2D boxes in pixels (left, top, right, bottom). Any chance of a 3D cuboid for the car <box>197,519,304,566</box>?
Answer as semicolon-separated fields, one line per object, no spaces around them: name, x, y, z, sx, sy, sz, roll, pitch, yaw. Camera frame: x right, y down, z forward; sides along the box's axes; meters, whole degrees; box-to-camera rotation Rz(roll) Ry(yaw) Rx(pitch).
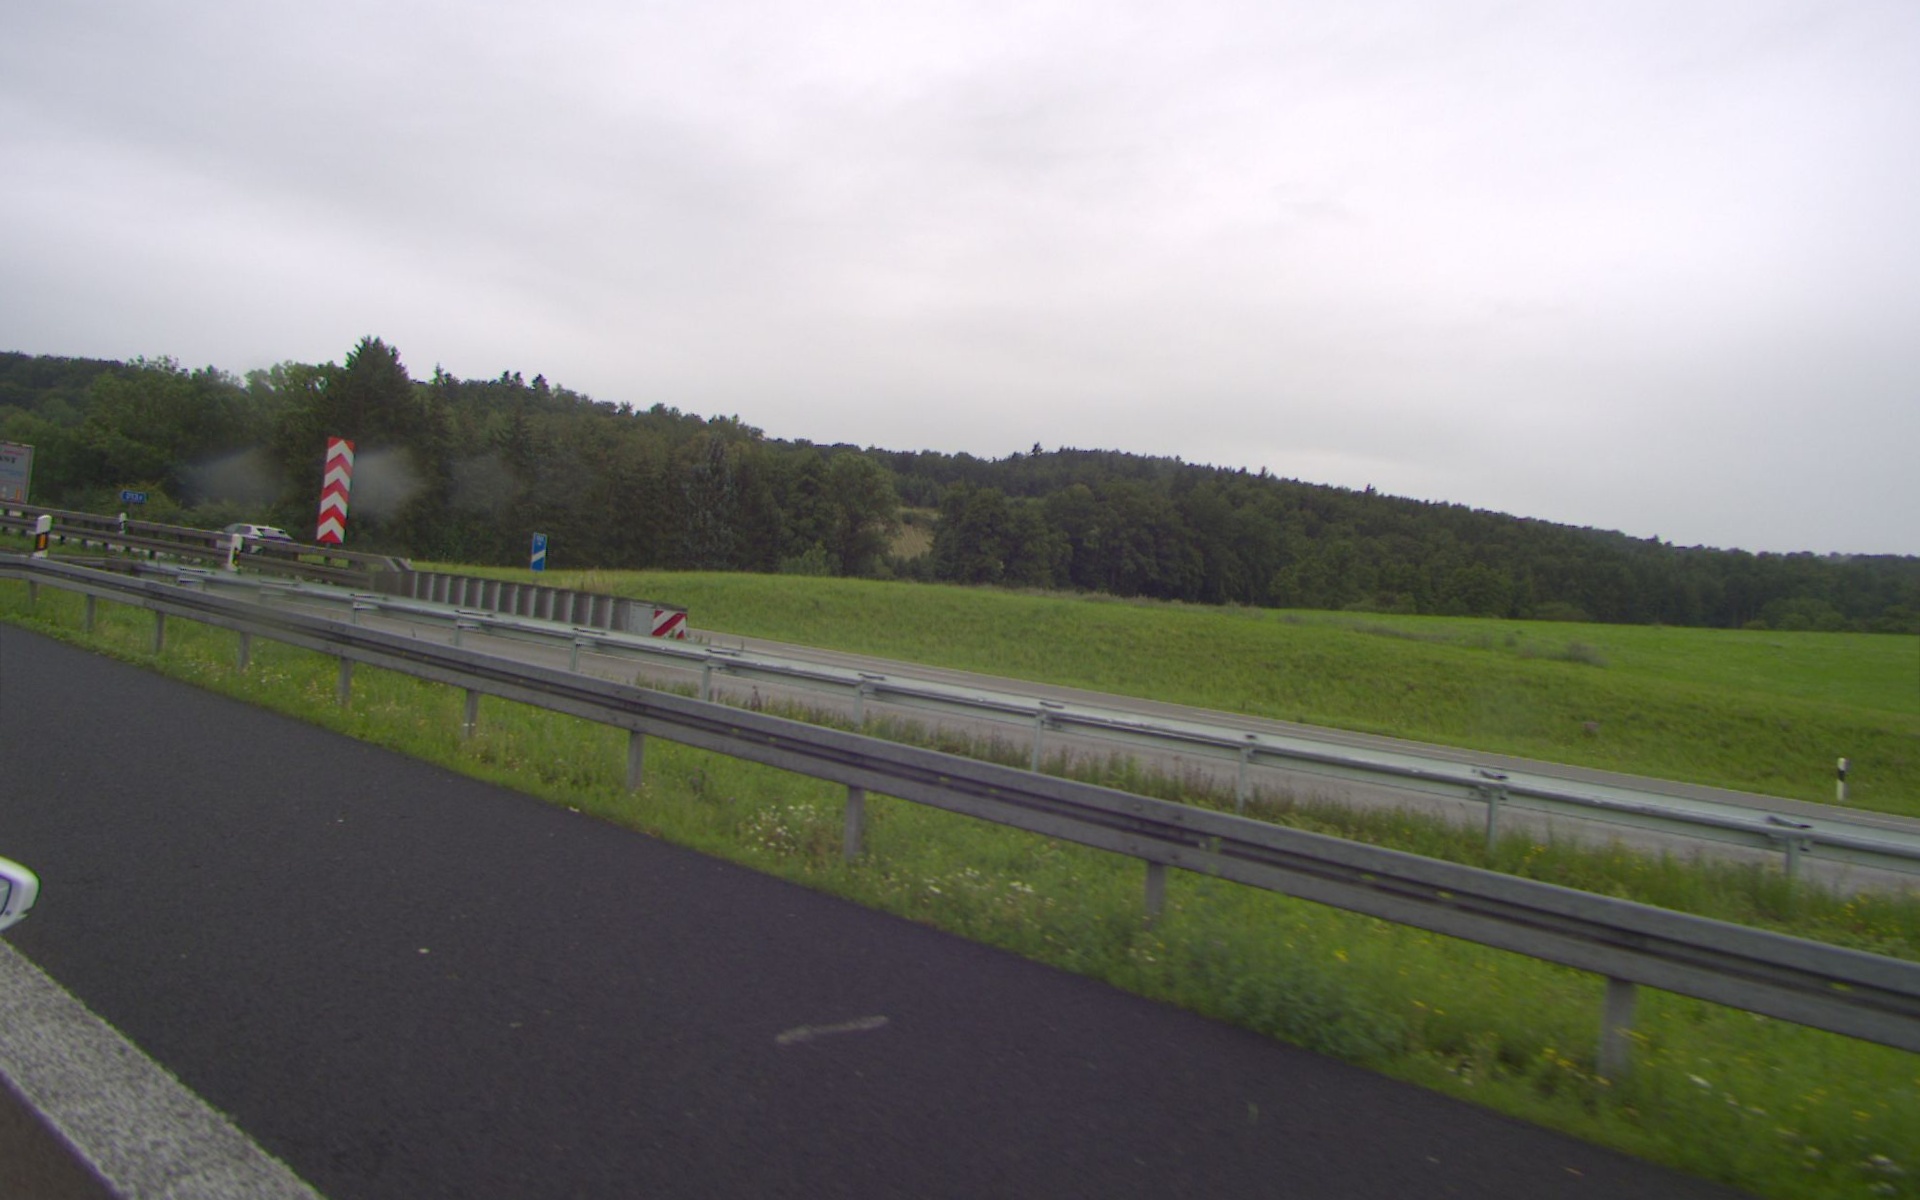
car;-31.775;-2.591;45.033;4.944;1.522;1.823;7;-1;28

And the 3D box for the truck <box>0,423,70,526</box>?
truck;-53.445;-7.005;53.084;16.591;4.595;3.829;6;-1;28
